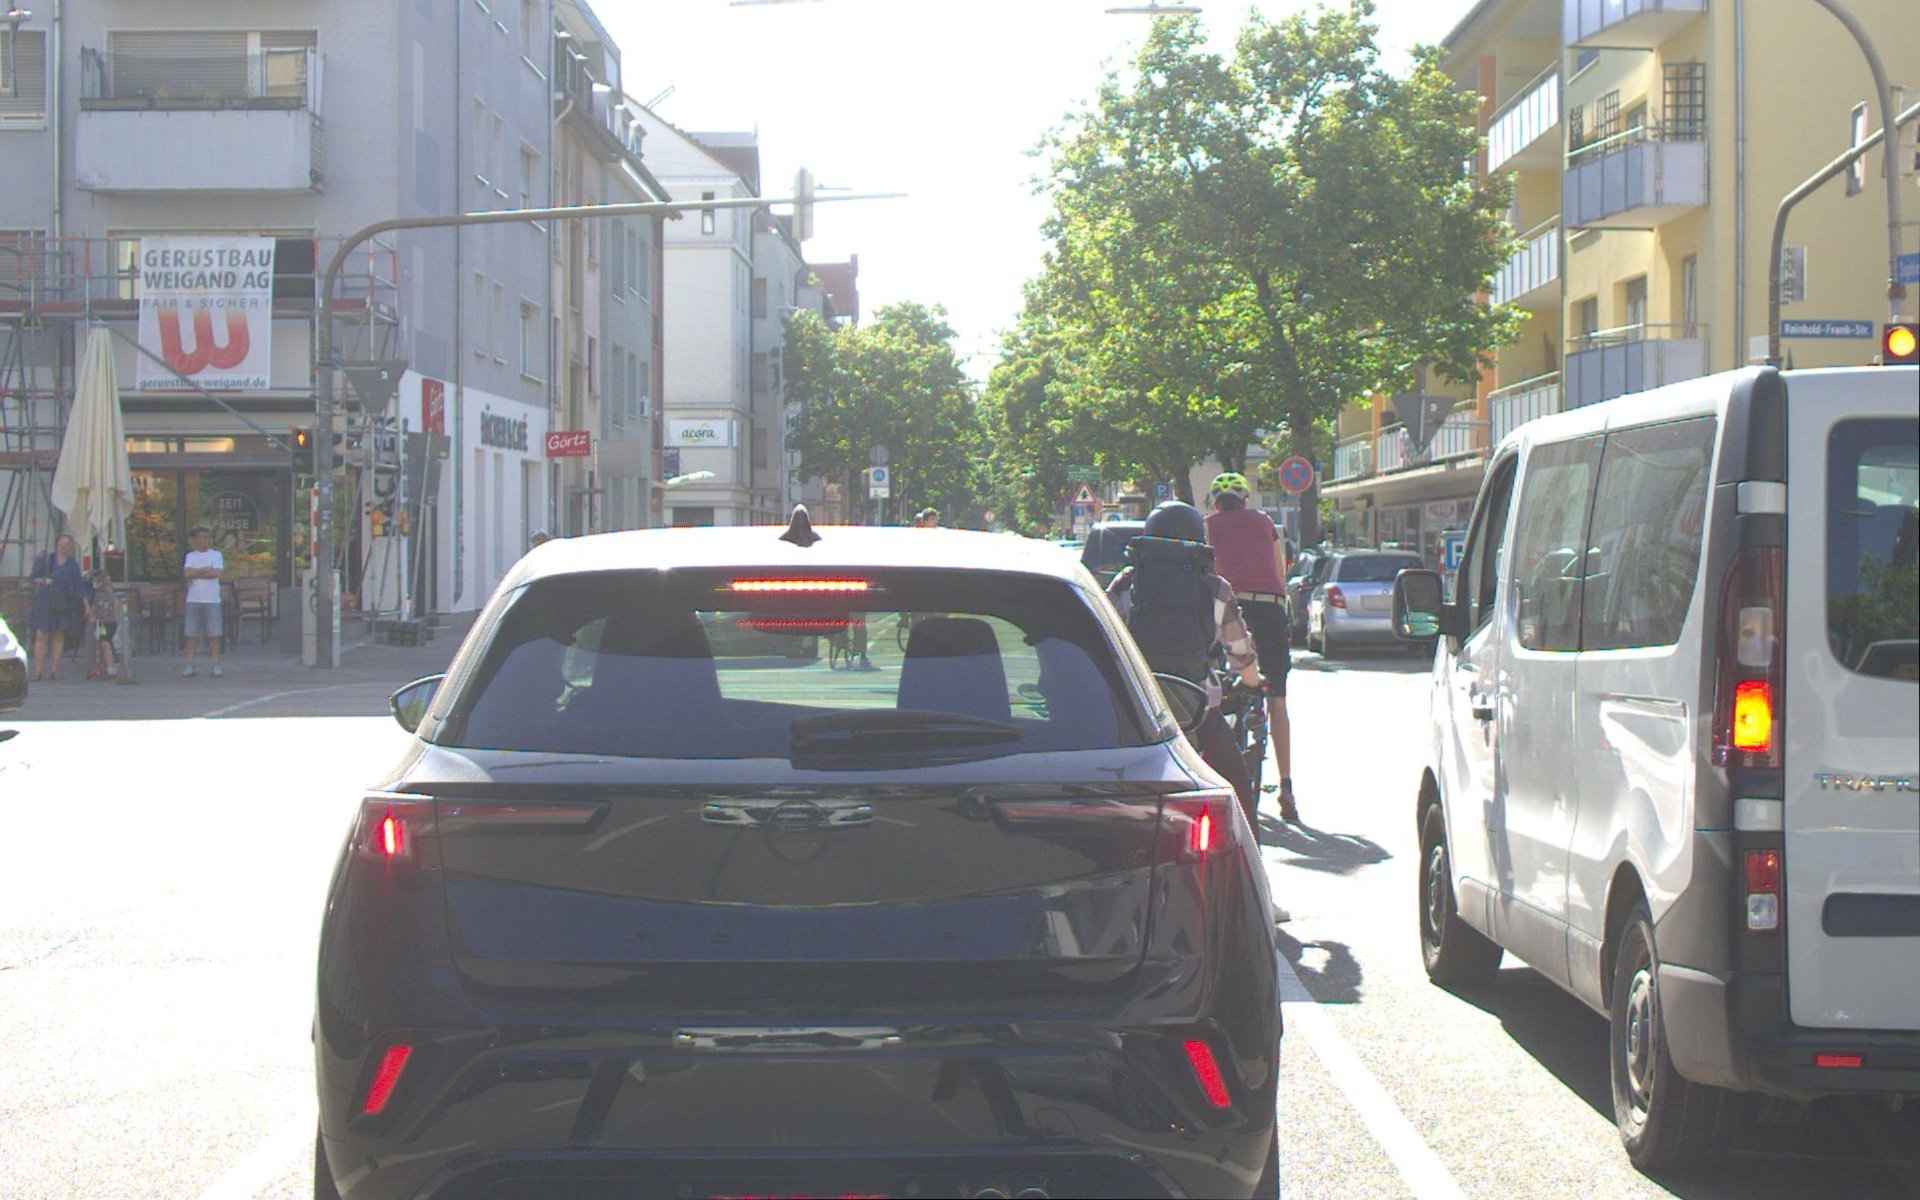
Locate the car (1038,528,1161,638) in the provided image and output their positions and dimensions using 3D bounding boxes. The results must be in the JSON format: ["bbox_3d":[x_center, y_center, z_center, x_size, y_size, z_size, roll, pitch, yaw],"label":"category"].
[{"bbox_3d":[2.235,-0.312,55.961,1.902,1.722,4.000,0,1,1],"label":"car"}]

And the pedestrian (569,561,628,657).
[{"bbox_3d":[-4.733,0.111,45.047,0.707,1.249,0.802,0,1,-2],"label":"pedestrian"}]

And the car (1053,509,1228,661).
[{"bbox_3d":[2.108,-0.207,41.042,1.902,1.722,4.073,0,1,0],"label":"car"}]

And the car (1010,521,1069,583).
[{"bbox_3d":[2.602,-1.588,113.526,1.855,2.007,3.881,0,1,0],"label":"car"}]

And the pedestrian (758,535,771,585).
[{"bbox_3d":[-6.521,-1.323,114.658,0.402,1.669,0.418,0,1,0],"label":"pedestrian"}]

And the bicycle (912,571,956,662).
[{"bbox_3d":[-0.348,0.198,45.104,0.521,1.143,2.170,0,1,-2],"label":"bicycle"}]

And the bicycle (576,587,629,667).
[{"bbox_3d":[-4.706,0.339,45.322,0.521,0.989,2.339,0,1,-2],"label":"bicycle"}]

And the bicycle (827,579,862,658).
[{"bbox_3d":[-1.511,0.226,45.001,0.443,0.989,2.069,0,1,-2],"label":"bicycle"}]

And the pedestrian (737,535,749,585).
[{"bbox_3d":[-7.255,-1.335,114.946,0.402,1.669,0.418,0,1,0],"label":"pedestrian"}]

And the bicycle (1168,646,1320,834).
[{"bbox_3d":[1.539,0.741,18.964,0.577,0.901,2.301,0,1,-2],"label":"bicycle"}]

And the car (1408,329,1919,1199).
[{"bbox_3d":[2.546,0.397,9.766,1.994,1.972,4.895,2,1,2],"label":"car"}]

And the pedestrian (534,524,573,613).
[{"bbox_3d":[-6.913,-0.542,58.522,0.617,1.516,0.725,0,1,-3],"label":"pedestrian"}]

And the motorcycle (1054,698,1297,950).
[{"bbox_3d":[0.818,0.851,13.590,0.825,0.842,1.885,0,1,0],"label":"motorcycle"}]

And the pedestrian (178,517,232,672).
[{"bbox_3d":[-8.702,-0.064,39.638,0.561,1.769,0.584,0,1,-8],"label":"pedestrian"}]

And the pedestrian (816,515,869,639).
[{"bbox_3d":[-1.536,-0.305,44.881,0.680,1.600,0.762,0,1,-2],"label":"pedestrian"}]

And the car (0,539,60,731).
[{"bbox_3d":[-9.482,0.268,28.036,3.777,1.531,1.770,0,1,17],"label":"car"}]

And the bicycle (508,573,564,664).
[{"bbox_3d":[-5.573,0.225,45.307,0.521,1.143,2.284,0,1,-2],"label":"bicycle"}]

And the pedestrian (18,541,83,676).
[{"bbox_3d":[-10.307,0.090,38.961,0.584,1.516,0.650,0,1,-3],"label":"pedestrian"}]

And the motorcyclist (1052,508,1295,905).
[{"bbox_3d":[0.822,0.392,13.563,0.864,1.497,1.160,0,1,-1],"label":"motorcyclist"}]

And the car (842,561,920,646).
[{"bbox_3d":[-1.947,0.062,85.582,1.849,2.007,4.000,0,1,0],"label":"car"}]

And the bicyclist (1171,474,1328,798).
[{"bbox_3d":[1.569,0.179,18.816,0.689,1.707,1.414,0,1,-2],"label":"bicyclist"}]

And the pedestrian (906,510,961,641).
[{"bbox_3d":[-0.353,-0.322,45.087,0.707,1.695,0.802,0,1,-2],"label":"pedestrian"}]

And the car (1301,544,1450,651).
[{"bbox_3d":[5.806,-0.065,48.423,1.634,1.428,3.957,0,1,0],"label":"car"}]

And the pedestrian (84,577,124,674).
[{"bbox_3d":[-9.720,0.285,39.044,0.355,1.088,0.462,0,1,-3],"label":"pedestrian"}]

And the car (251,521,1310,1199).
[{"bbox_3d":[-0.359,0.593,7.762,1.770,1.525,4.000,0,1,-2],"label":"car"}]

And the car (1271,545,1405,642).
[{"bbox_3d":[5.813,-0.132,53.273,1.634,1.428,4.000,0,1,0],"label":"car"}]

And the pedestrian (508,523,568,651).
[{"bbox_3d":[-5.534,-0.174,45.106,0.707,1.672,0.802,0,1,-2],"label":"pedestrian"}]
